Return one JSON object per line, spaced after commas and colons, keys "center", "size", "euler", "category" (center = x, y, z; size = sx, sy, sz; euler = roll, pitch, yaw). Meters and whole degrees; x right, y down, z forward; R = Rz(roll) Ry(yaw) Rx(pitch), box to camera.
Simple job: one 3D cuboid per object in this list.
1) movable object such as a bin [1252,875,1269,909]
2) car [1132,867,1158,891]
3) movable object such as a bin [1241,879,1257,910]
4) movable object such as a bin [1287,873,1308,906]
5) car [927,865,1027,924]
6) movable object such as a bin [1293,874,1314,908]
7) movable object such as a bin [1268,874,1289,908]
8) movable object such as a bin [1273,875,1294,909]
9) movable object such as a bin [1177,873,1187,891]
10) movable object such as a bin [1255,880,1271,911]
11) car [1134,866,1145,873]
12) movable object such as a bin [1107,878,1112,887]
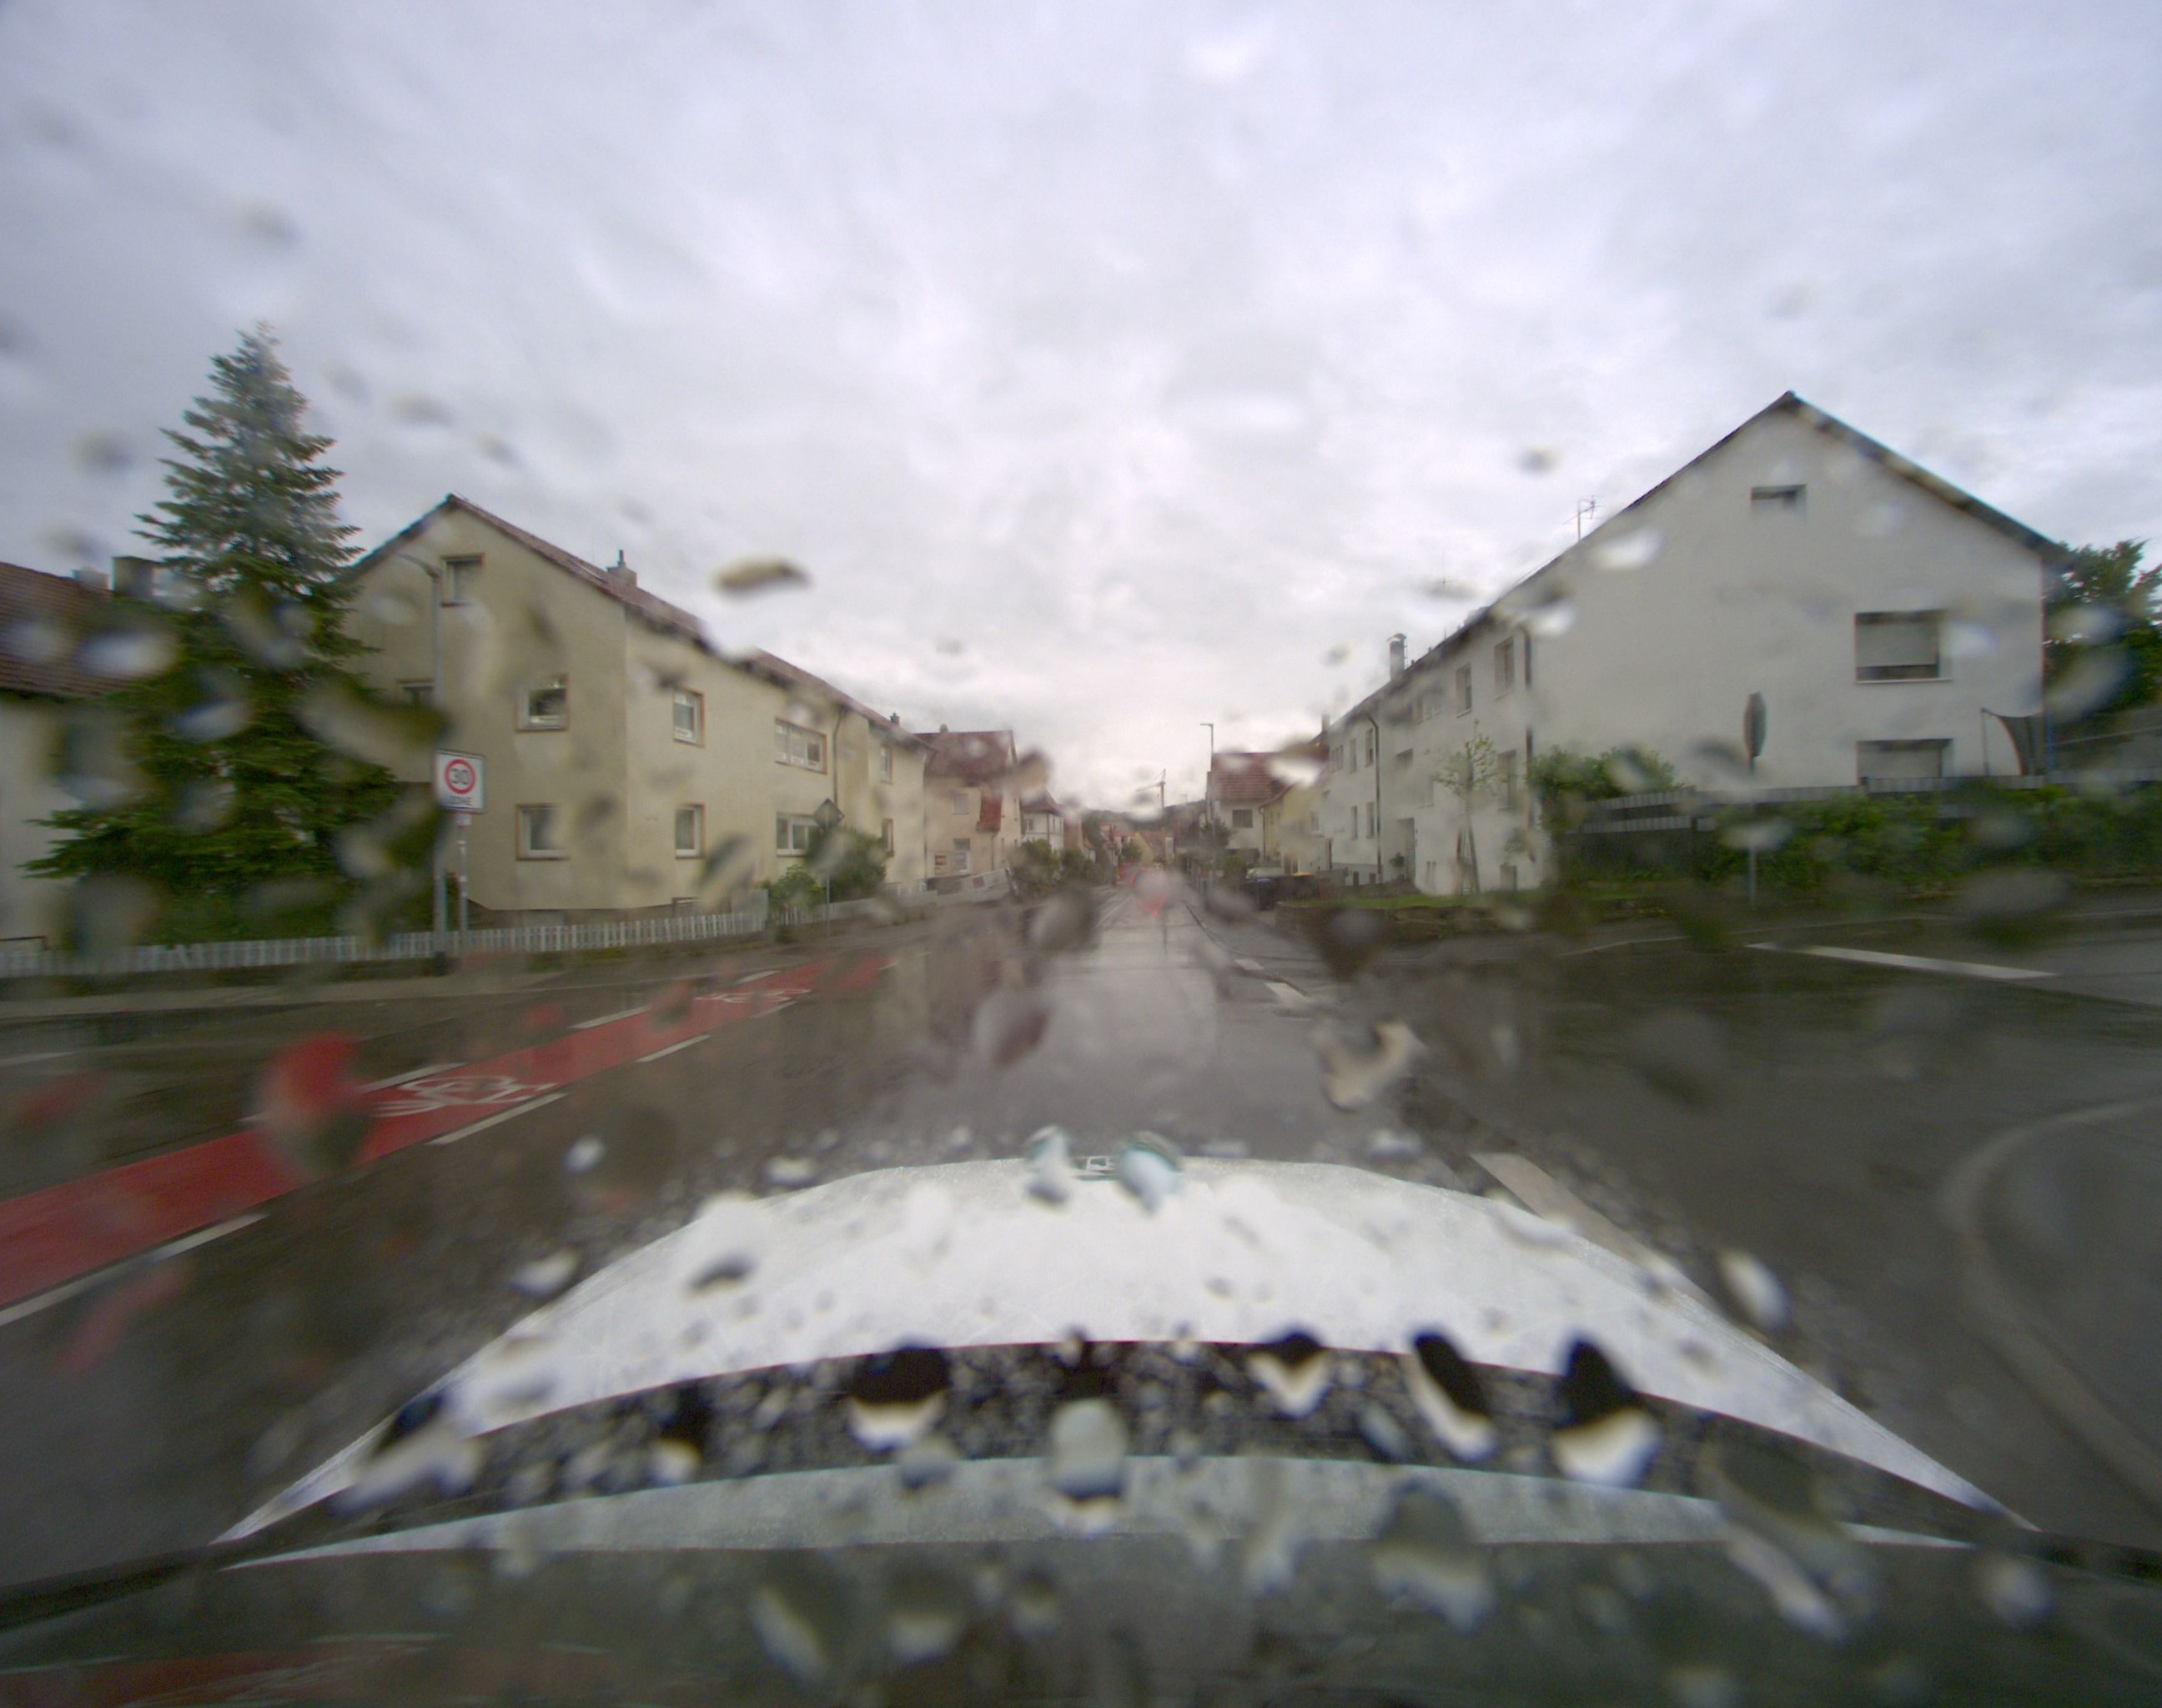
{"center": [5.785, 1.220, 26.253], "size": [0.423, 1.028, 0.632], "euler": [0, 1, 3], "category": "movable object such as a bin"}
{"center": [5.543, 2.107, 70.173], "size": [2.106, 1.888, 4.510], "euler": [0, 1, 6], "category": "car"}
{"center": [5.282, 1.262, 25.615], "size": [0.423, 0.940, 0.508], "euler": [0, 1, 3], "category": "movable object such as a bin"}
{"center": [6.968, 1.150, 26.213], "size": [0.542, 1.028, 0.632], "euler": [0, 1, 3], "category": "movable object such as a bin"}
{"center": [-5.457, 2.094, 43.085], "size": [4.535, 2.012, 2.162], "euler": [-13, 0, 4], "category": "car"}
{"center": [6.974, 1.163, 25.525], "size": [0.526, 1.028, 0.632], "euler": [0, 1, 3], "category": "movable object such as a bin"}
{"center": [6.353, 1.184, 26.241], "size": [0.542, 1.028, 0.632], "euler": [0, 1, 3], "category": "movable object such as a bin"}
{"center": [6.351, 1.180, 25.556], "size": [0.542, 1.028, 0.632], "euler": [0, 1, 3], "category": "movable object such as a bin"}
{"center": [7.585, 2.116, 61.226], "size": [0.741, 1.279, 0.884], "euler": [-2, 0, 6], "category": "movable object such as a bin"}
{"center": [5.723, 1.292, 25.574], "size": [0.423, 0.940, 0.508], "euler": [0, 1, 3], "category": "movable object such as a bin"}
{"center": [13.358, 3.493, 185.733], "size": [1.830, 1.578, 4.302], "euler": [0, 1, 10], "category": "car"}
{"center": [3.932, 3.852, 111.292], "size": [0.680, 1.223, 0.639], "euler": [0, 1, 0], "category": "movable object such as a bin"}
